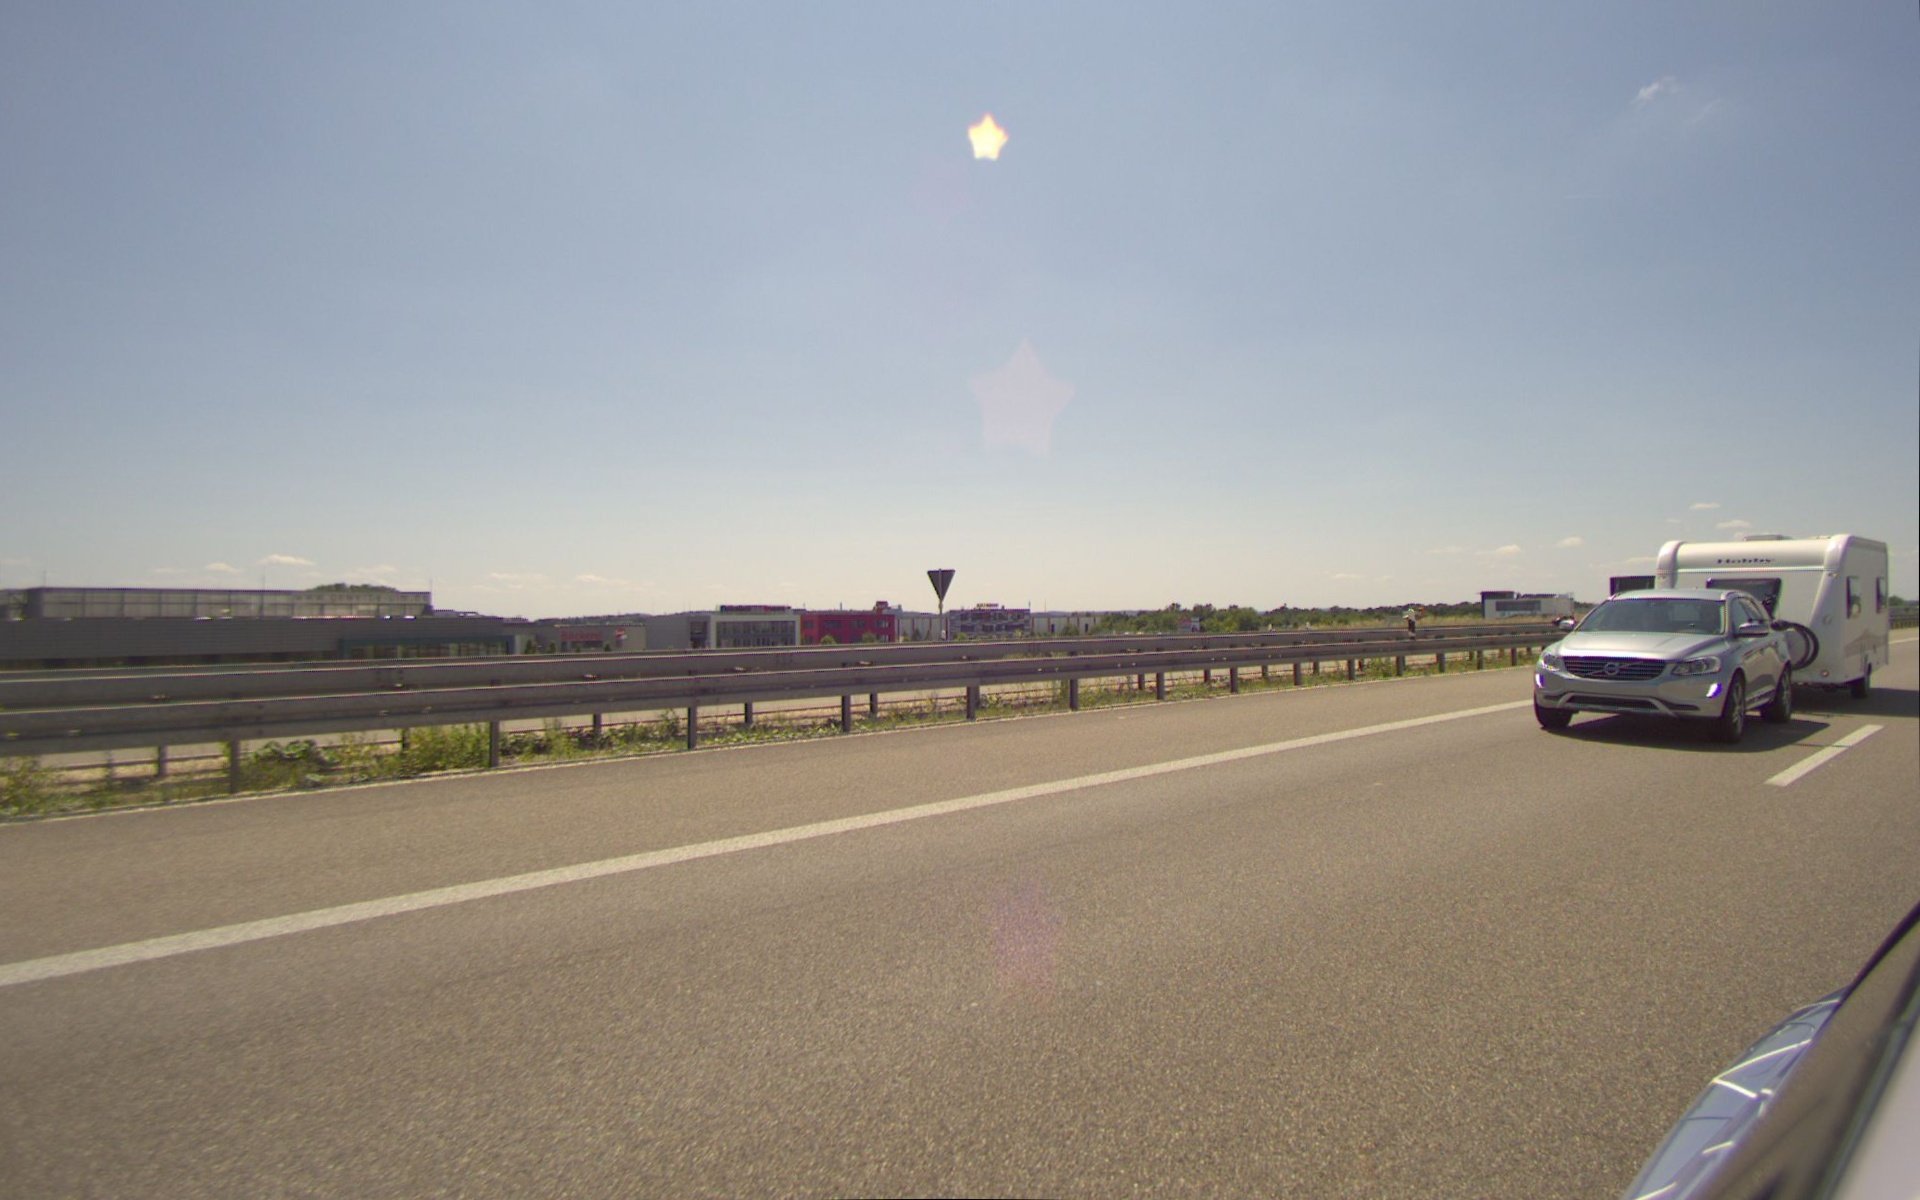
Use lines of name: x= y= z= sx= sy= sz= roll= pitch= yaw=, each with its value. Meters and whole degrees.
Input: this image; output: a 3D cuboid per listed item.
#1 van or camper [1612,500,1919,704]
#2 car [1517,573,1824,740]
van or camper: x=13.350 y=0.056 z=16.429 sx=7.678 sy=2.626 sz=2.517 roll=1 pitch=-1 yaw=-40
car: x=8.726 y=0.564 z=12.247 sx=4.816 sy=1.643 sz=1.884 roll=1 pitch=0 yaw=-40
